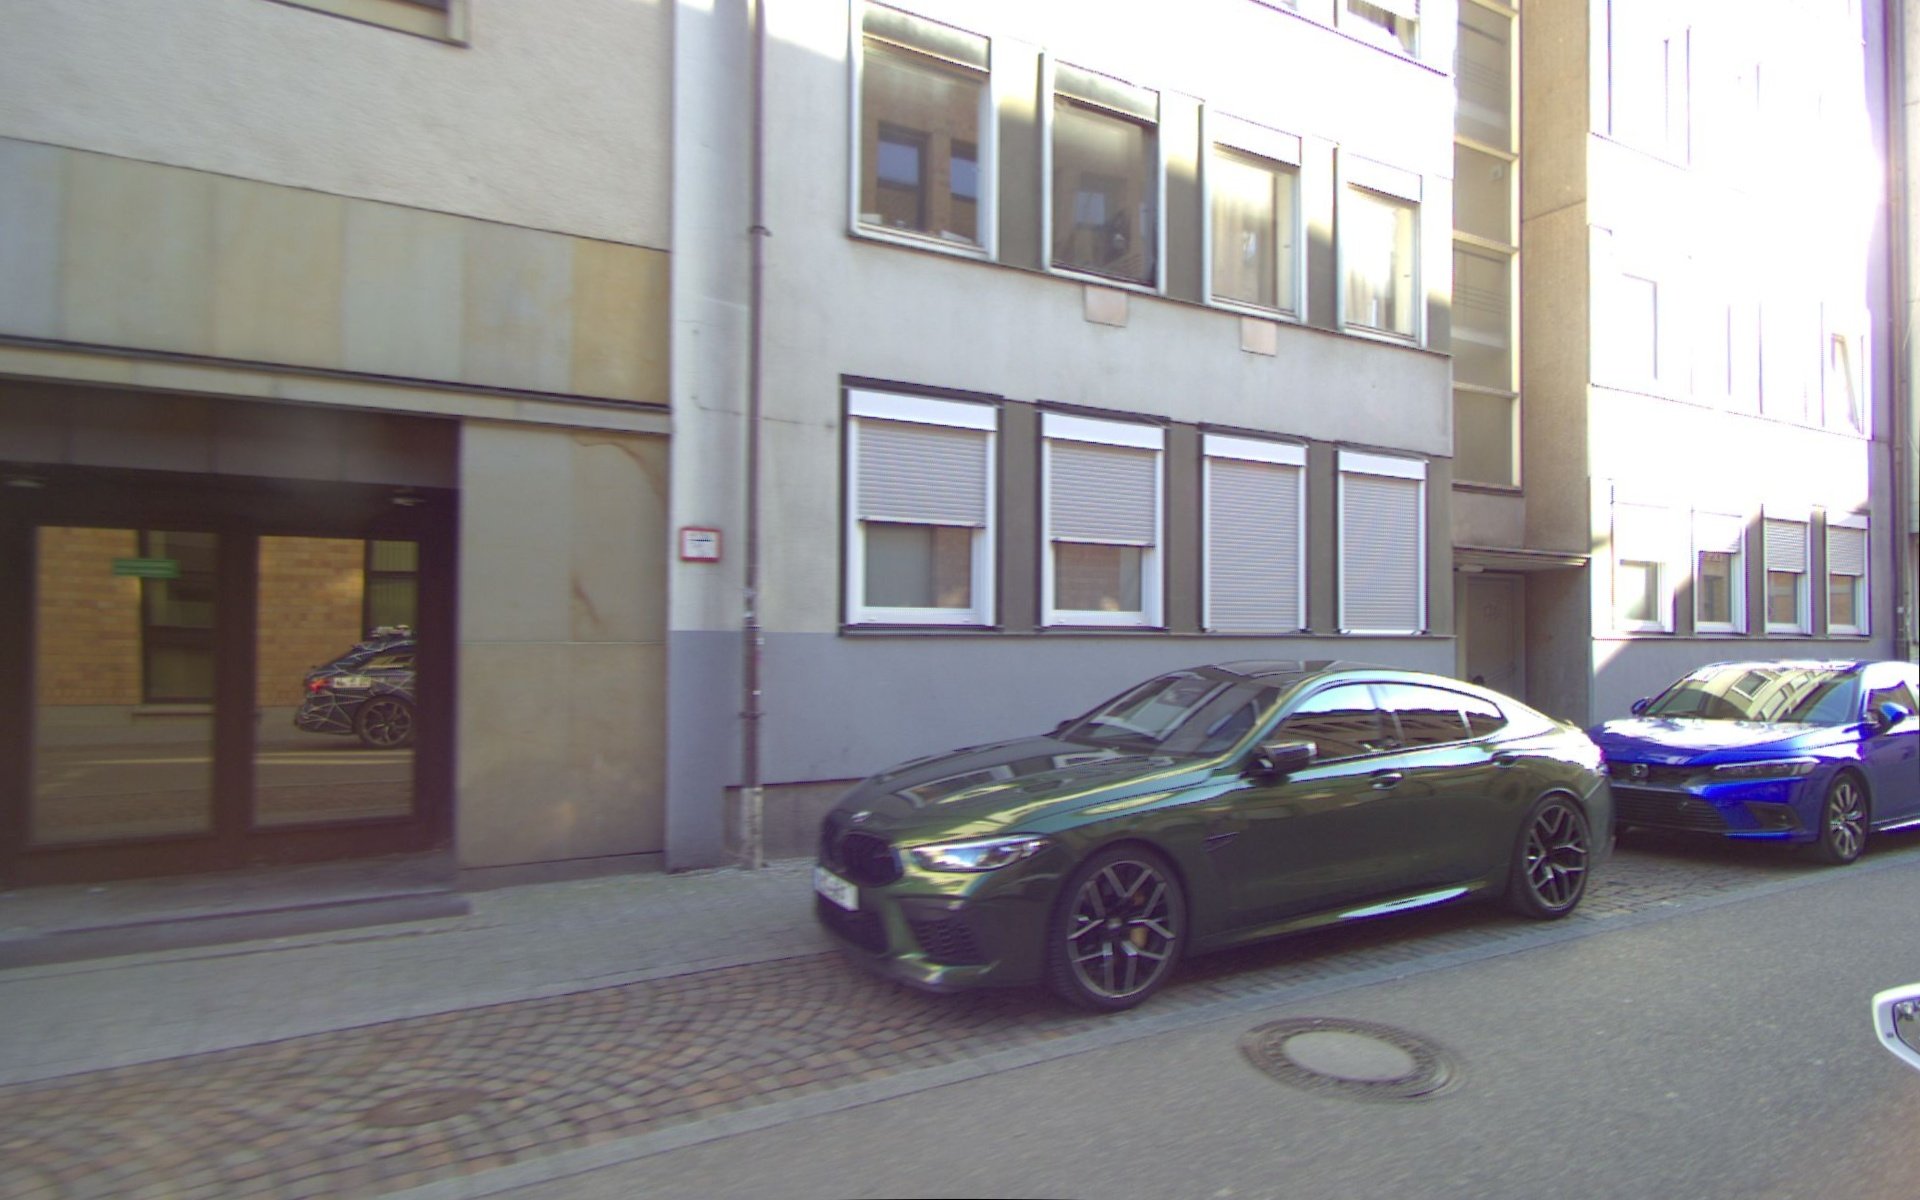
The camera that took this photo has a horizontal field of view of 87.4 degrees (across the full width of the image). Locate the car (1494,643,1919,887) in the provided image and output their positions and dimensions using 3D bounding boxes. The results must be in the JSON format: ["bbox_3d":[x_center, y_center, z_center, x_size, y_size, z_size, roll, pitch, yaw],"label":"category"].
[{"bbox_3d":[6.670,1.140,8.311,4.284,1.550,1.883,1,-2,-27],"label":"car"}]

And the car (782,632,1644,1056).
[{"bbox_3d":[1.527,0.981,5.671,4.669,1.550,1.883,1,-3,-28],"label":"car"}]

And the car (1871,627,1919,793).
[{"bbox_3d":[12.108,1.148,10.803,4.493,1.698,1.884,1,-2,-26],"label":"car"}]
